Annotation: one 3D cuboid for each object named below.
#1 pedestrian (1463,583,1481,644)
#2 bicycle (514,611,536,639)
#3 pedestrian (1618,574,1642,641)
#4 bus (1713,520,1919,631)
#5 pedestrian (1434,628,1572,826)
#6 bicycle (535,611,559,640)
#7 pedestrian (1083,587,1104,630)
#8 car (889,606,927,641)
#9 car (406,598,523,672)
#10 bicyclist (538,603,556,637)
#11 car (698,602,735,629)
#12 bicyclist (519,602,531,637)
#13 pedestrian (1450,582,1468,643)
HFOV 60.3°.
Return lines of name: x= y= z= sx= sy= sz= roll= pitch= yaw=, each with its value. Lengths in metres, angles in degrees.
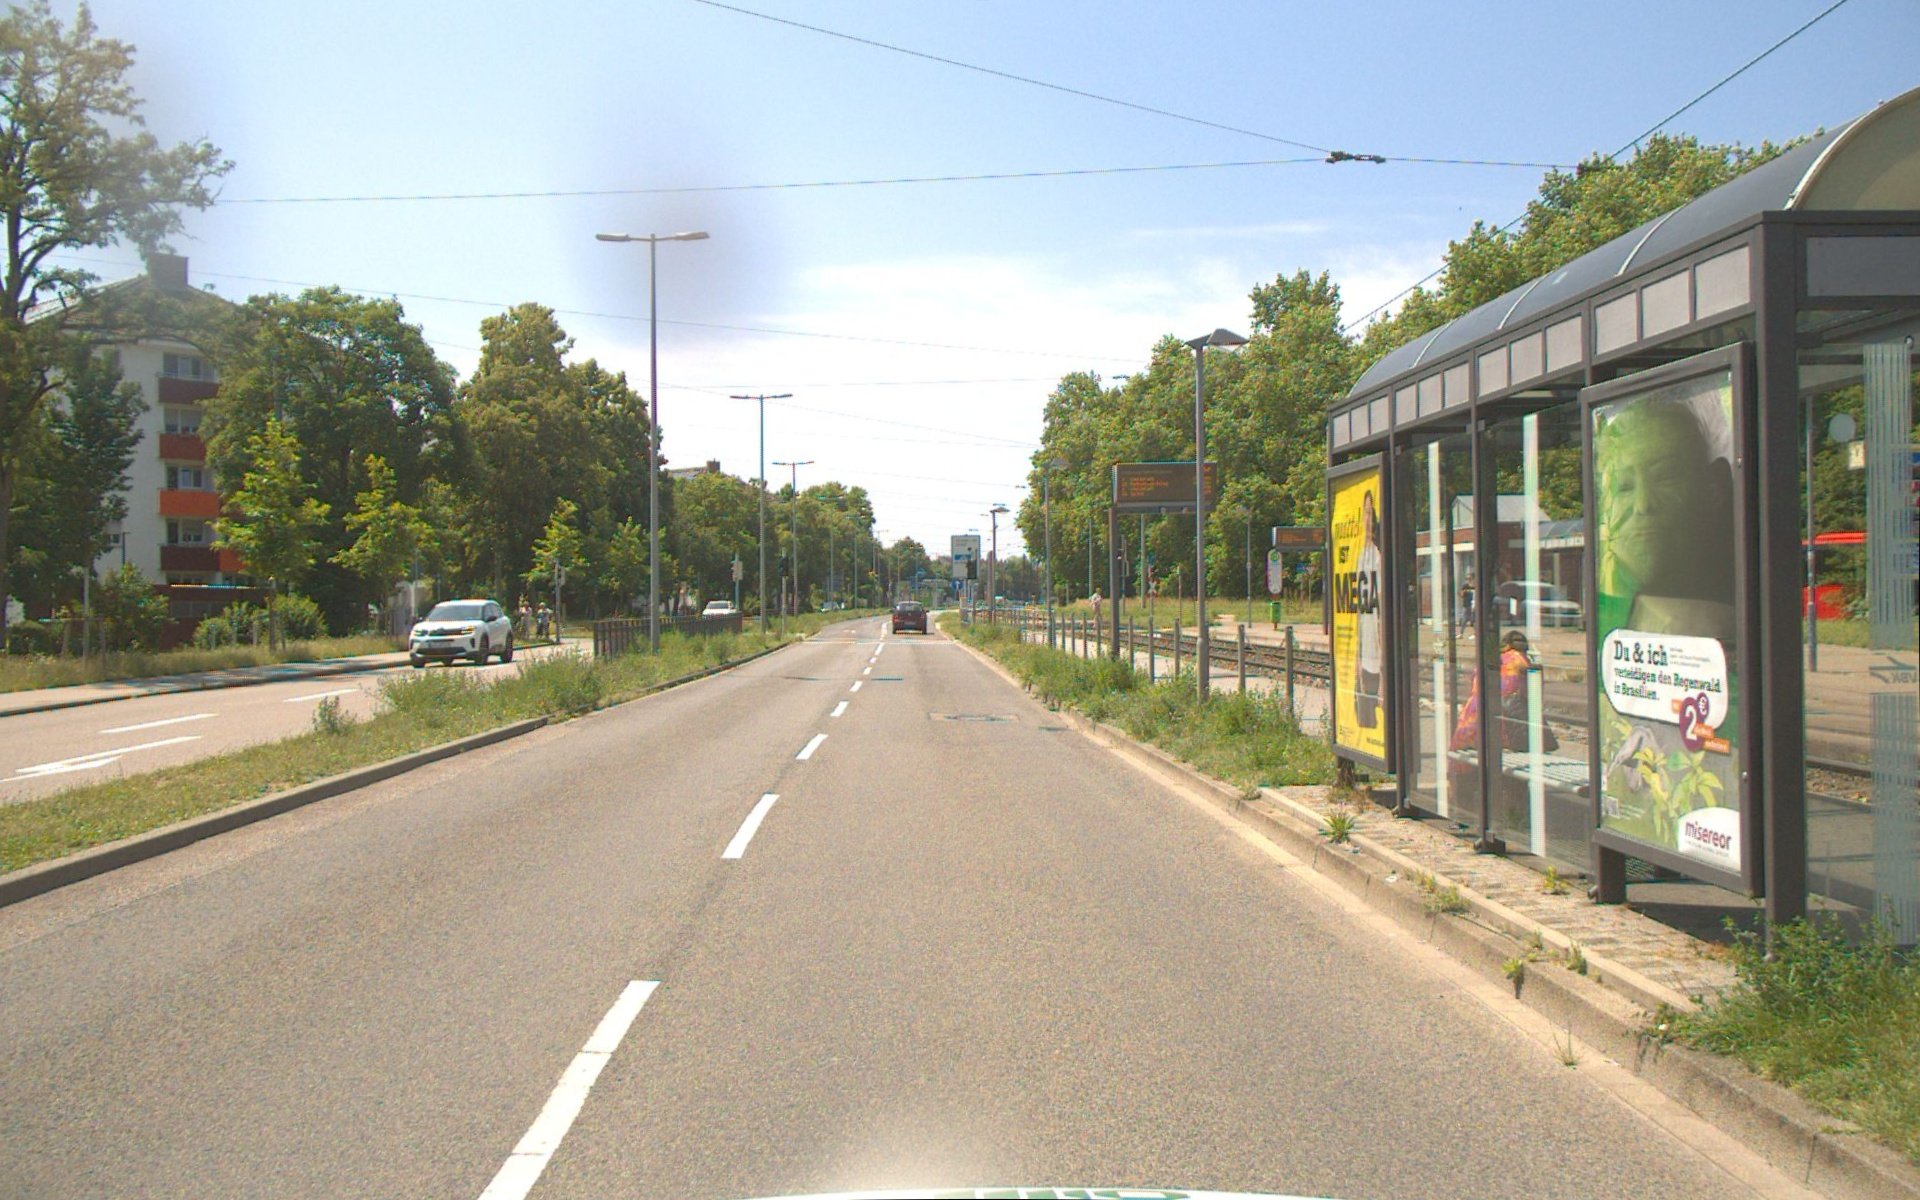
pedestrian: x=13.781 y=0.374 z=44.522 sx=0.353 sy=1.625 sz=0.483 roll=1 pitch=-1 yaw=1
bicycle: x=-17.668 y=1.018 z=67.196 sx=0.542 sy=1.114 sz=1.379 roll=1 pitch=-1 yaw=-1
pedestrian: x=16.387 y=0.187 z=40.456 sx=0.352 sy=1.625 sz=0.612 roll=1 pitch=-1 yaw=3
bus: x=30.986 y=-0.741 z=55.235 sx=2.720 sy=3.499 sz=12.366 roll=1 pitch=-1 yaw=-21
pedestrian: x=3.059 y=0.699 z=9.350 sx=0.564 sy=1.058 sz=0.579 roll=-1 pitch=0 yaw=-2
bicycle: x=-16.797 y=1.040 z=67.318 sx=0.576 sy=1.153 sz=1.615 roll=-1 pitch=0 yaw=-2
pedestrian: x=5.579 y=0.373 z=69.195 sx=0.624 sy=1.790 sz=0.813 roll=1 pitch=-1 yaw=-15
car: x=-2.403 y=1.073 z=77.043 sx=1.668 sy=1.503 sz=3.715 roll=-1 pitch=0 yaw=-1
car: x=-12.847 y=0.905 z=43.121 sx=1.822 sy=1.789 sz=4.477 roll=1 pitch=-1 yaw=-2
bicyclist: x=-16.777 y=0.799 z=67.241 sx=0.534 sy=1.369 sz=0.755 roll=-1 pitch=0 yaw=-3
car: x=-15.100 y=0.934 z=102.902 sx=1.784 sy=1.600 sz=4.345 roll=-1 pitch=0 yaw=-2
bicyclist: x=-17.641 y=0.802 z=67.101 sx=0.350 sy=1.416 sz=0.440 roll=0 pitch=0 yaw=1
pedestrian: x=13.636 y=0.344 z=45.184 sx=0.353 sy=1.675 sz=0.445 roll=1 pitch=-1 yaw=1
